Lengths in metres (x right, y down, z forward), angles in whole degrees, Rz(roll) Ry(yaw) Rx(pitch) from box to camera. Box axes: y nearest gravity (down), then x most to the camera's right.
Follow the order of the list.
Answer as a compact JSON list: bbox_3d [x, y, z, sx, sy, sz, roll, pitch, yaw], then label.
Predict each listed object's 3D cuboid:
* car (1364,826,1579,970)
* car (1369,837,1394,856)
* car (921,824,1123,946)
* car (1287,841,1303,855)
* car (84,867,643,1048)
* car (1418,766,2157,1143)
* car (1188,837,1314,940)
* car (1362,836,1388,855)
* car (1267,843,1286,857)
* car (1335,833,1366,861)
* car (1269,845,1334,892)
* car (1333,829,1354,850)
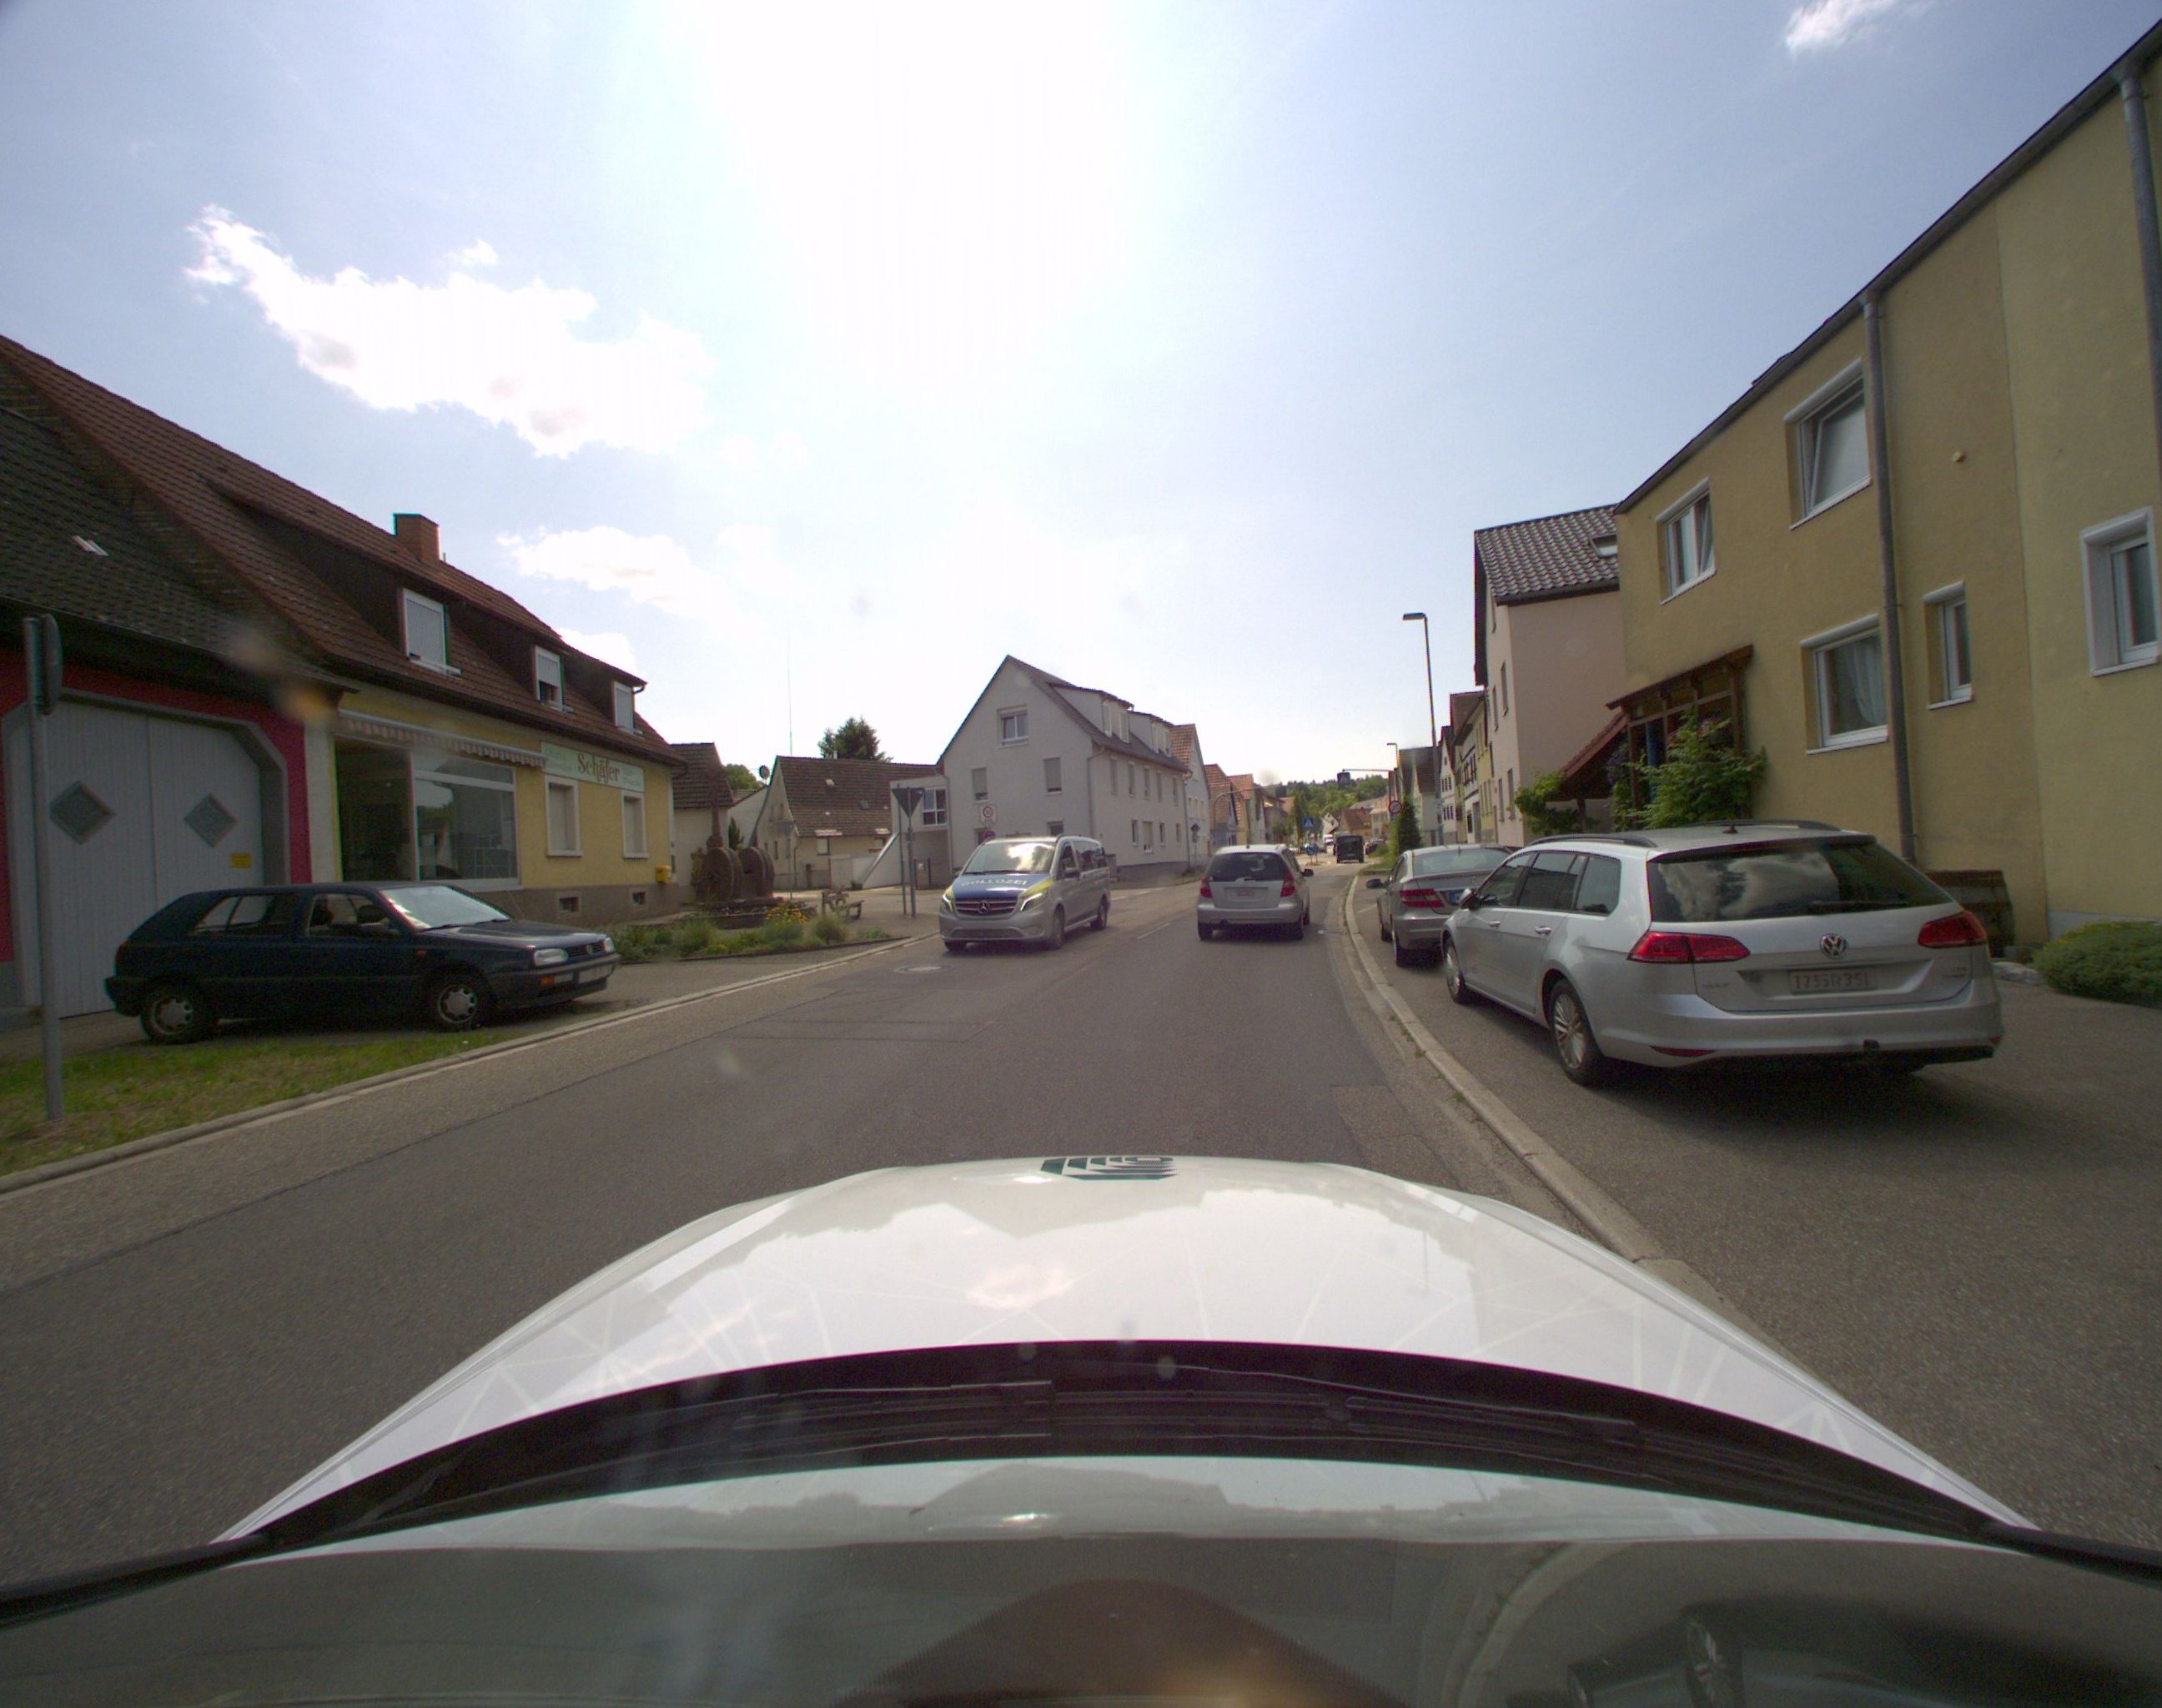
[{"bbox_3d":[4.909,0.516,10.906,1.757,1.400,4.443,-6,-2,16],"label":"car"},{"bbox_3d":[27.465,-0.671,74.423,1.977,1.508,4.019,-3,-2,19],"label":"car"},{"bbox_3d":[-0.812,0.533,14.768,1.978,1.800,4.956,-3,-2,16],"label":"car"},{"bbox_3d":[27.706,-0.767,105.218,1.653,1.596,4.019,-3,-2,19],"label":"car"},{"bbox_3d":[-6.935,0.938,8.270,3.960,1.464,1.718,-2,-1,-5],"label":"car"},{"bbox_3d":[3.951,0.477,5.761,1.873,1.530,4.347,-6,-1,10],"label":"car"},{"bbox_3d":[3.243,0.552,14.985,1.796,1.643,3.747,-1,0,19],"label":"car"},{"bbox_3d":[25.330,-0.710,70.373,1.977,1.508,4.019,-3,-2,19],"label":"car"},{"bbox_3d":[21.111,-0.407,87.895,1.979,1.321,3.722,-2,-2,13],"label":"car"},{"bbox_3d":[19.098,-0.444,57.823,1.978,1.816,4.018,-3,-2,18],"label":"car"},{"bbox_3d":[7.298,0.492,27.305,1.739,1.416,4.011,-2,-2,11],"label":"car"},{"bbox_3d":[28.523,-1.547,88.399,1.977,2.014,4.019,-3,-2,18],"label":"car"}]
